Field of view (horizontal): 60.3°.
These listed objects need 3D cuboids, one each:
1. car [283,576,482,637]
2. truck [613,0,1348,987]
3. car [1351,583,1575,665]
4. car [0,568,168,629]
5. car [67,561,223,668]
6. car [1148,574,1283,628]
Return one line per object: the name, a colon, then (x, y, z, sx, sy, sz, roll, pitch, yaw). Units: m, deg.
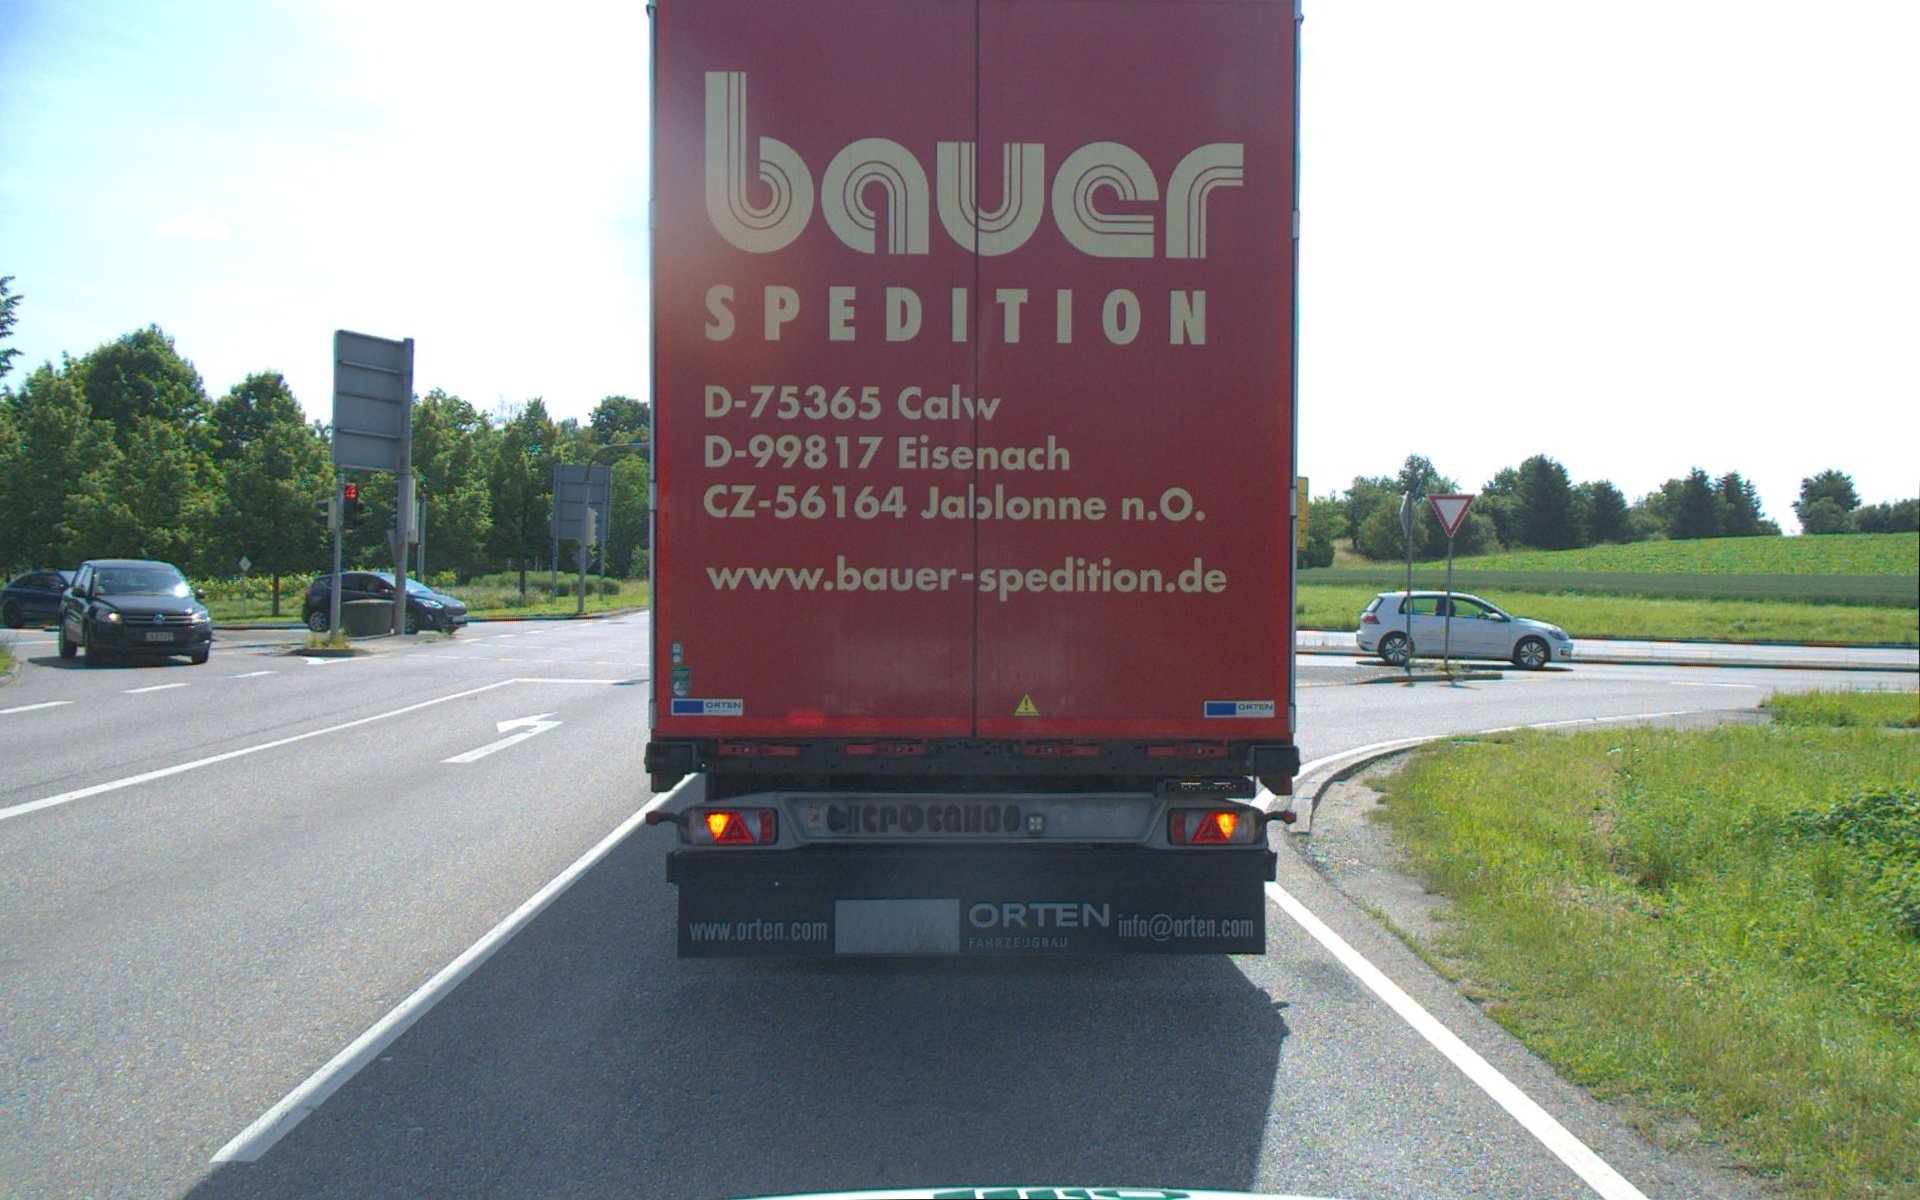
car: (-13.676, 0.143, 39.214, 4.176, 1.328, 1.743, 1, 0, 15)
truck: (-0.071, -0.664, 14.424, 2.679, 3.993, 16.622, 1, 1, -1)
car: (10.070, 0.456, 33.433, 4.155, 1.486, 1.812, 1, 2, 12)
car: (-22.597, -0.038, 42.349, 4.178, 1.454, 1.742, 1, 0, 20)
car: (-13.550, 0.179, 27.386, 1.788, 1.625, 4.219, 0, 1, -34)
car: (8.037, 0.009, 52.161, 3.920, 1.624, 1.658, 1, 0, 36)
